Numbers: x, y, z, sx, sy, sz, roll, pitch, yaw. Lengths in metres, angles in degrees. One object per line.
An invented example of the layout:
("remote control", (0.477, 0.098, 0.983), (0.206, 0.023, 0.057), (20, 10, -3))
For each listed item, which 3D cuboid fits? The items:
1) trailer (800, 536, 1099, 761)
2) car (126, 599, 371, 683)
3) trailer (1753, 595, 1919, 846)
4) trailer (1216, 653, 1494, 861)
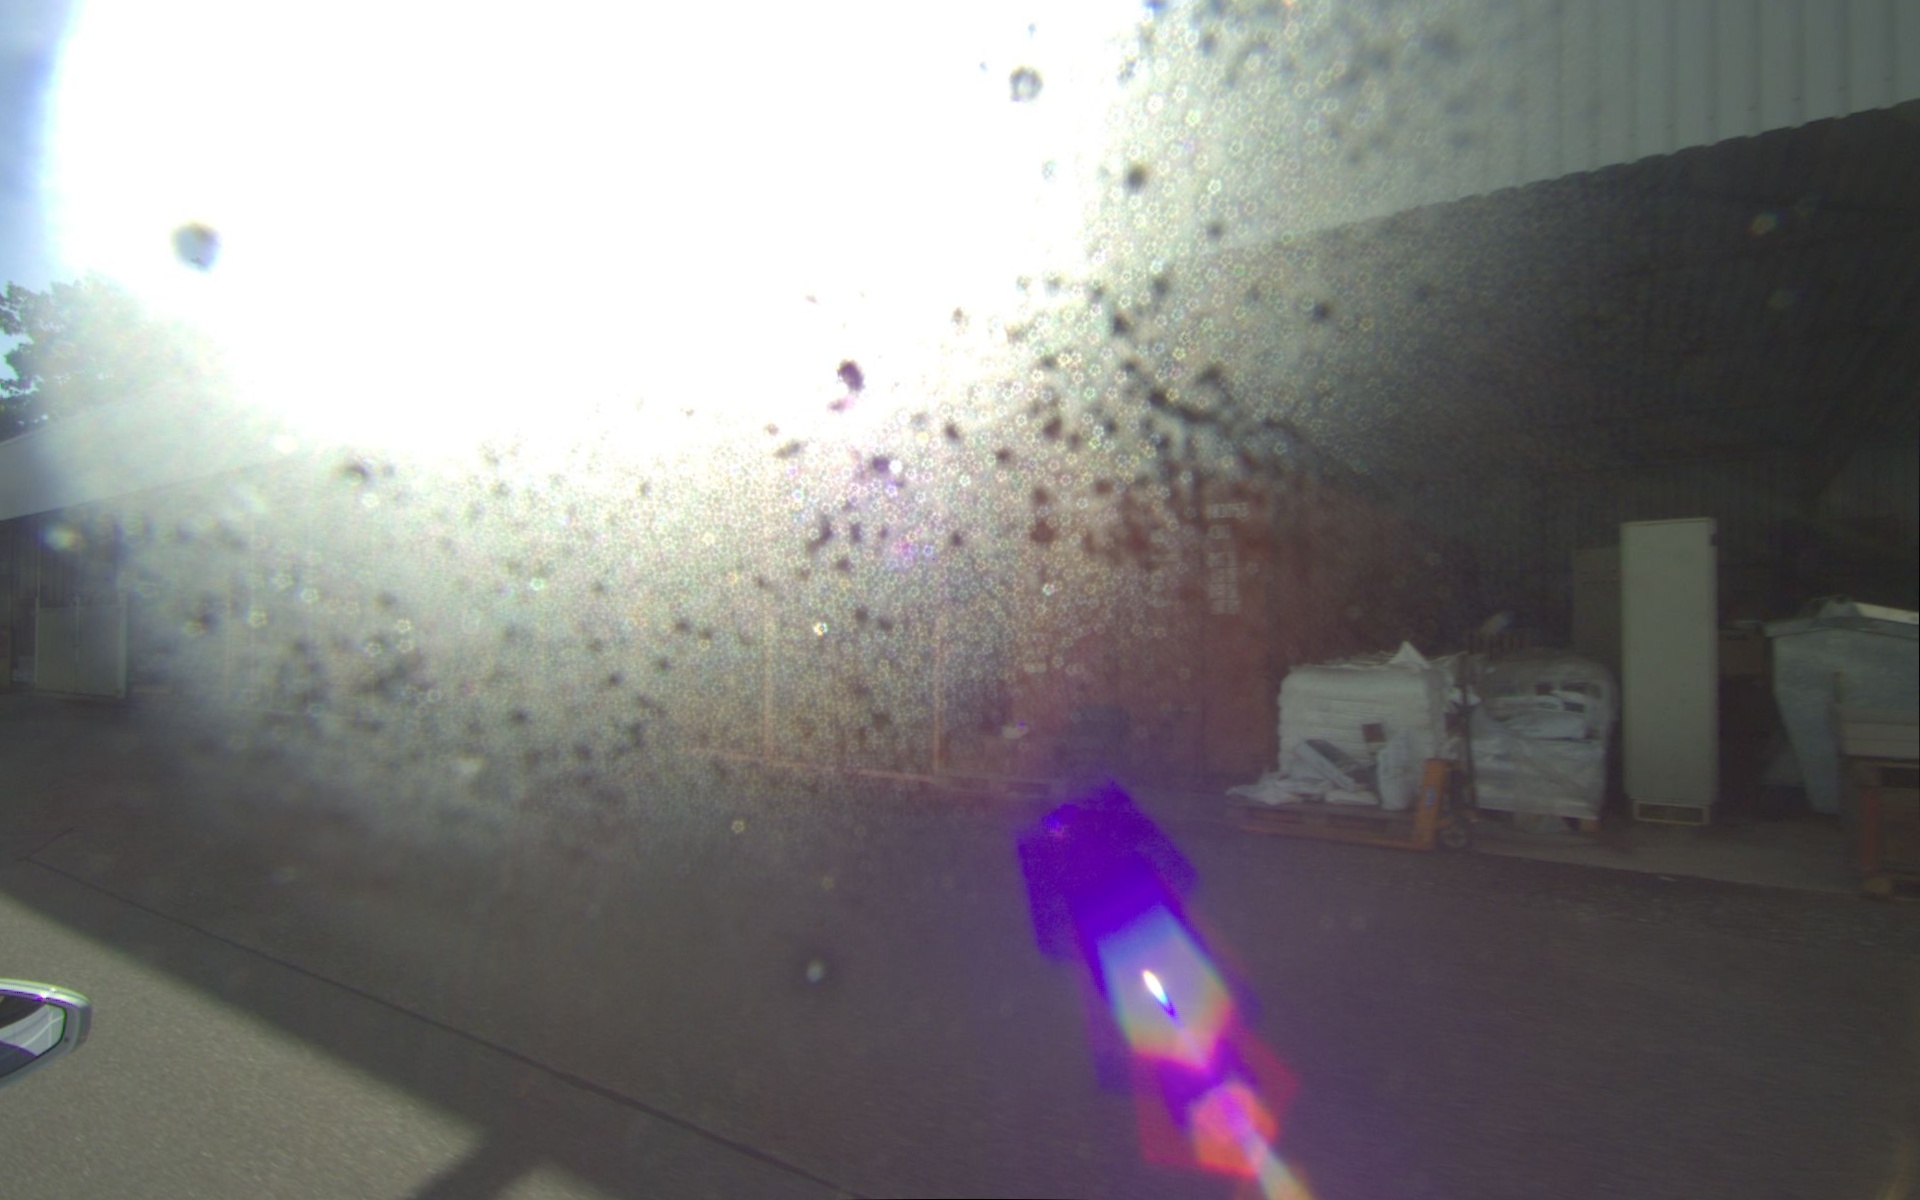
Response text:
("trailer", (-0.108, 0.503, 11.228), (2.764, 2.171, 1.916), (-1, 0, 32))
("car", (-17.986, 1.040, 25.599), (1.968, 1.940, 4.770), (-1, -2, 26))
("trailer", (6.391, 0.715, 6.651), (1.717, 1.485, 2.030), (-1, -1, 38))
("trailer", (2.429, 0.911, 6.223), (1.525, 1.133, 0.550), (-1, -1, 32))
